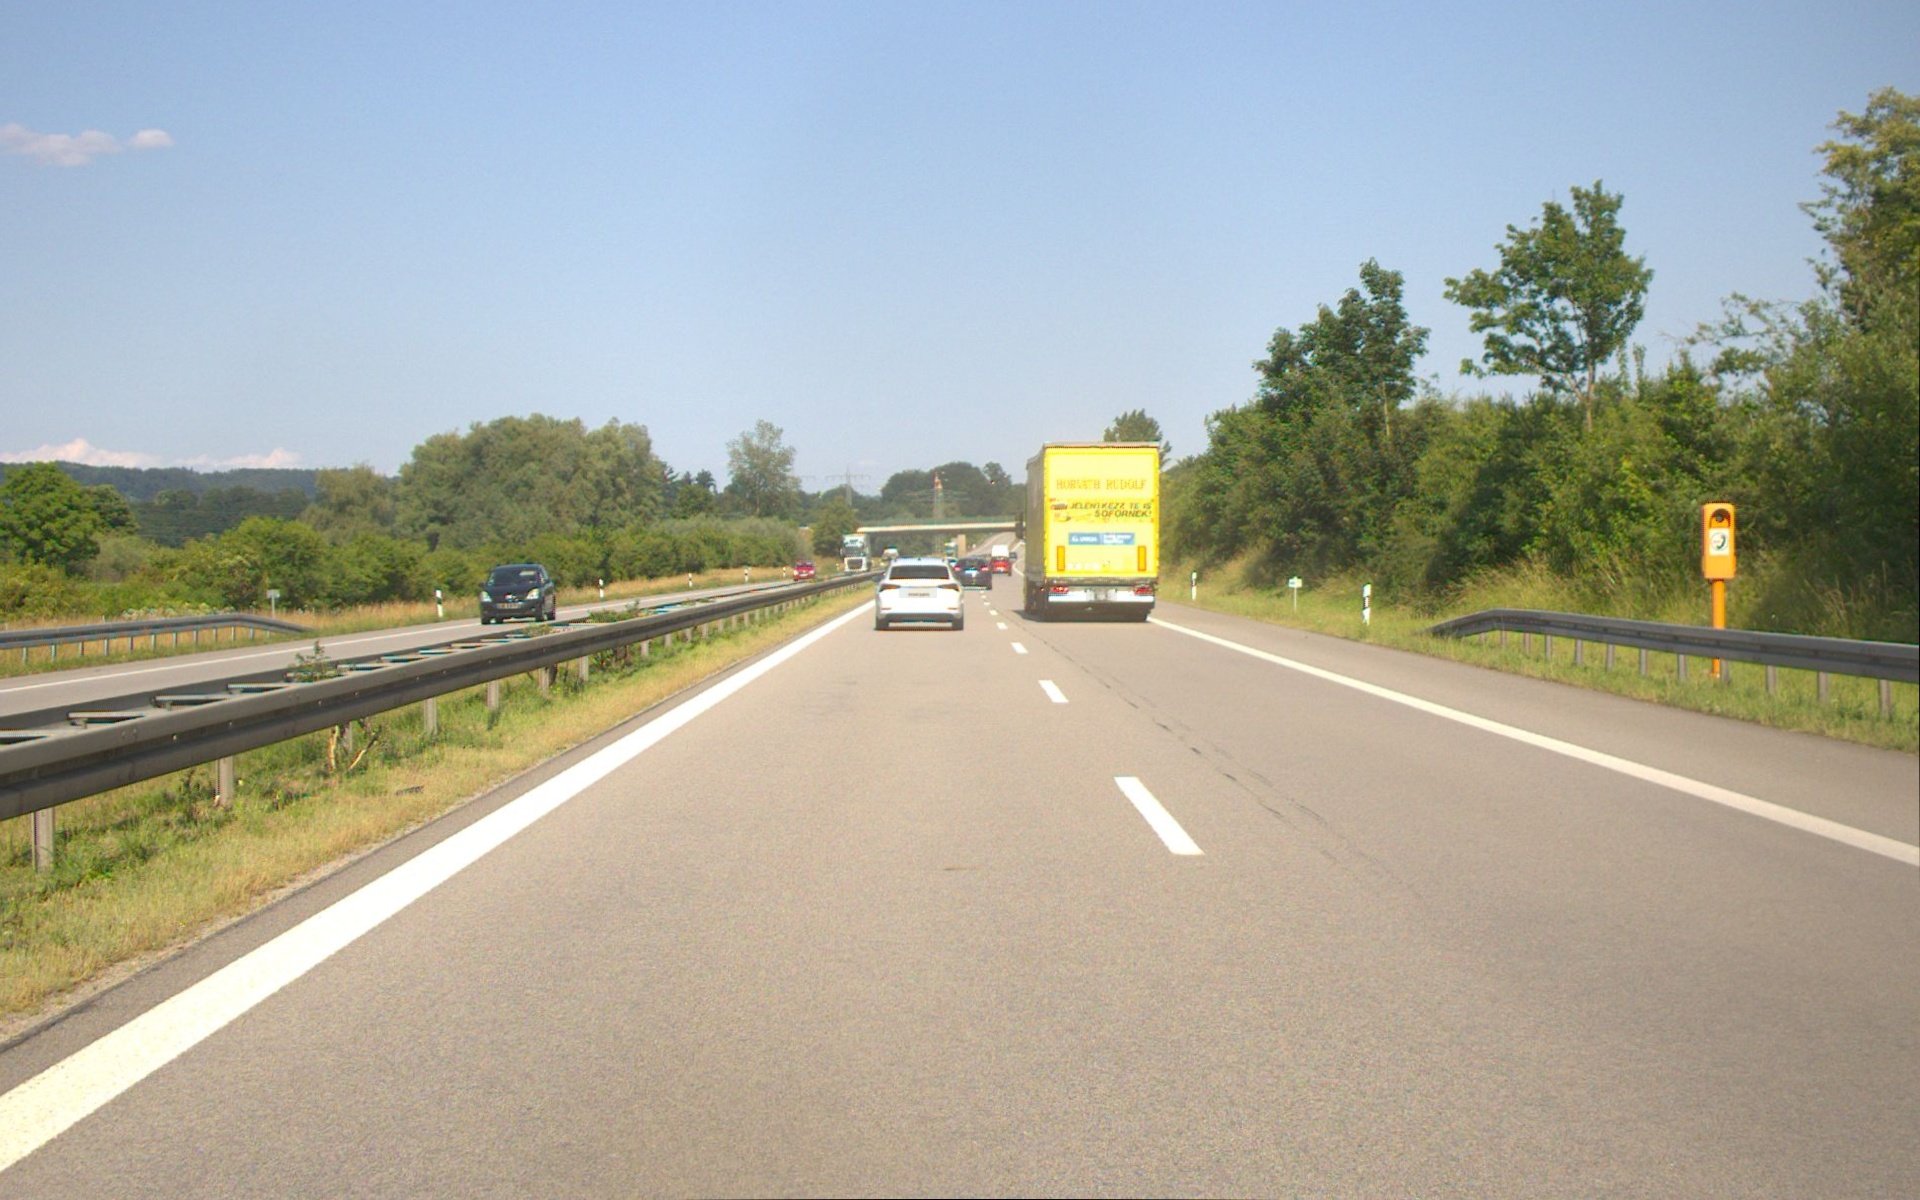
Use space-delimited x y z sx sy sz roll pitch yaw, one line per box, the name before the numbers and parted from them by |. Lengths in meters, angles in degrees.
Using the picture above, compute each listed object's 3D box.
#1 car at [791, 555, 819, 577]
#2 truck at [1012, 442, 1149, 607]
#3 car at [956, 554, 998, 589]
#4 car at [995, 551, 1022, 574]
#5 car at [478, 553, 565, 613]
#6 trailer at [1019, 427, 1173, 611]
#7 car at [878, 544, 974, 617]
car | -11.400 -2.499 252.979 1.730 1.506 4.479 -3 0 1
truck | 3.079 -1.919 89.608 3.168 4.100 6.389 1 1 -1
car | 0.781 -1.295 154.695 1.843 1.515 4.000 1 1 1
car | 3.651 -2.804 259.219 1.902 1.677 4.731 2 1 0
car | -12.310 -0.484 96.778 1.830 1.566 4.656 -2 0 0
trailer | 3.130 -1.866 82.989 3.184 4.045 13.187 1 1 0
car | -0.662 -0.396 69.724 1.843 1.411 4.000 1 1 1
